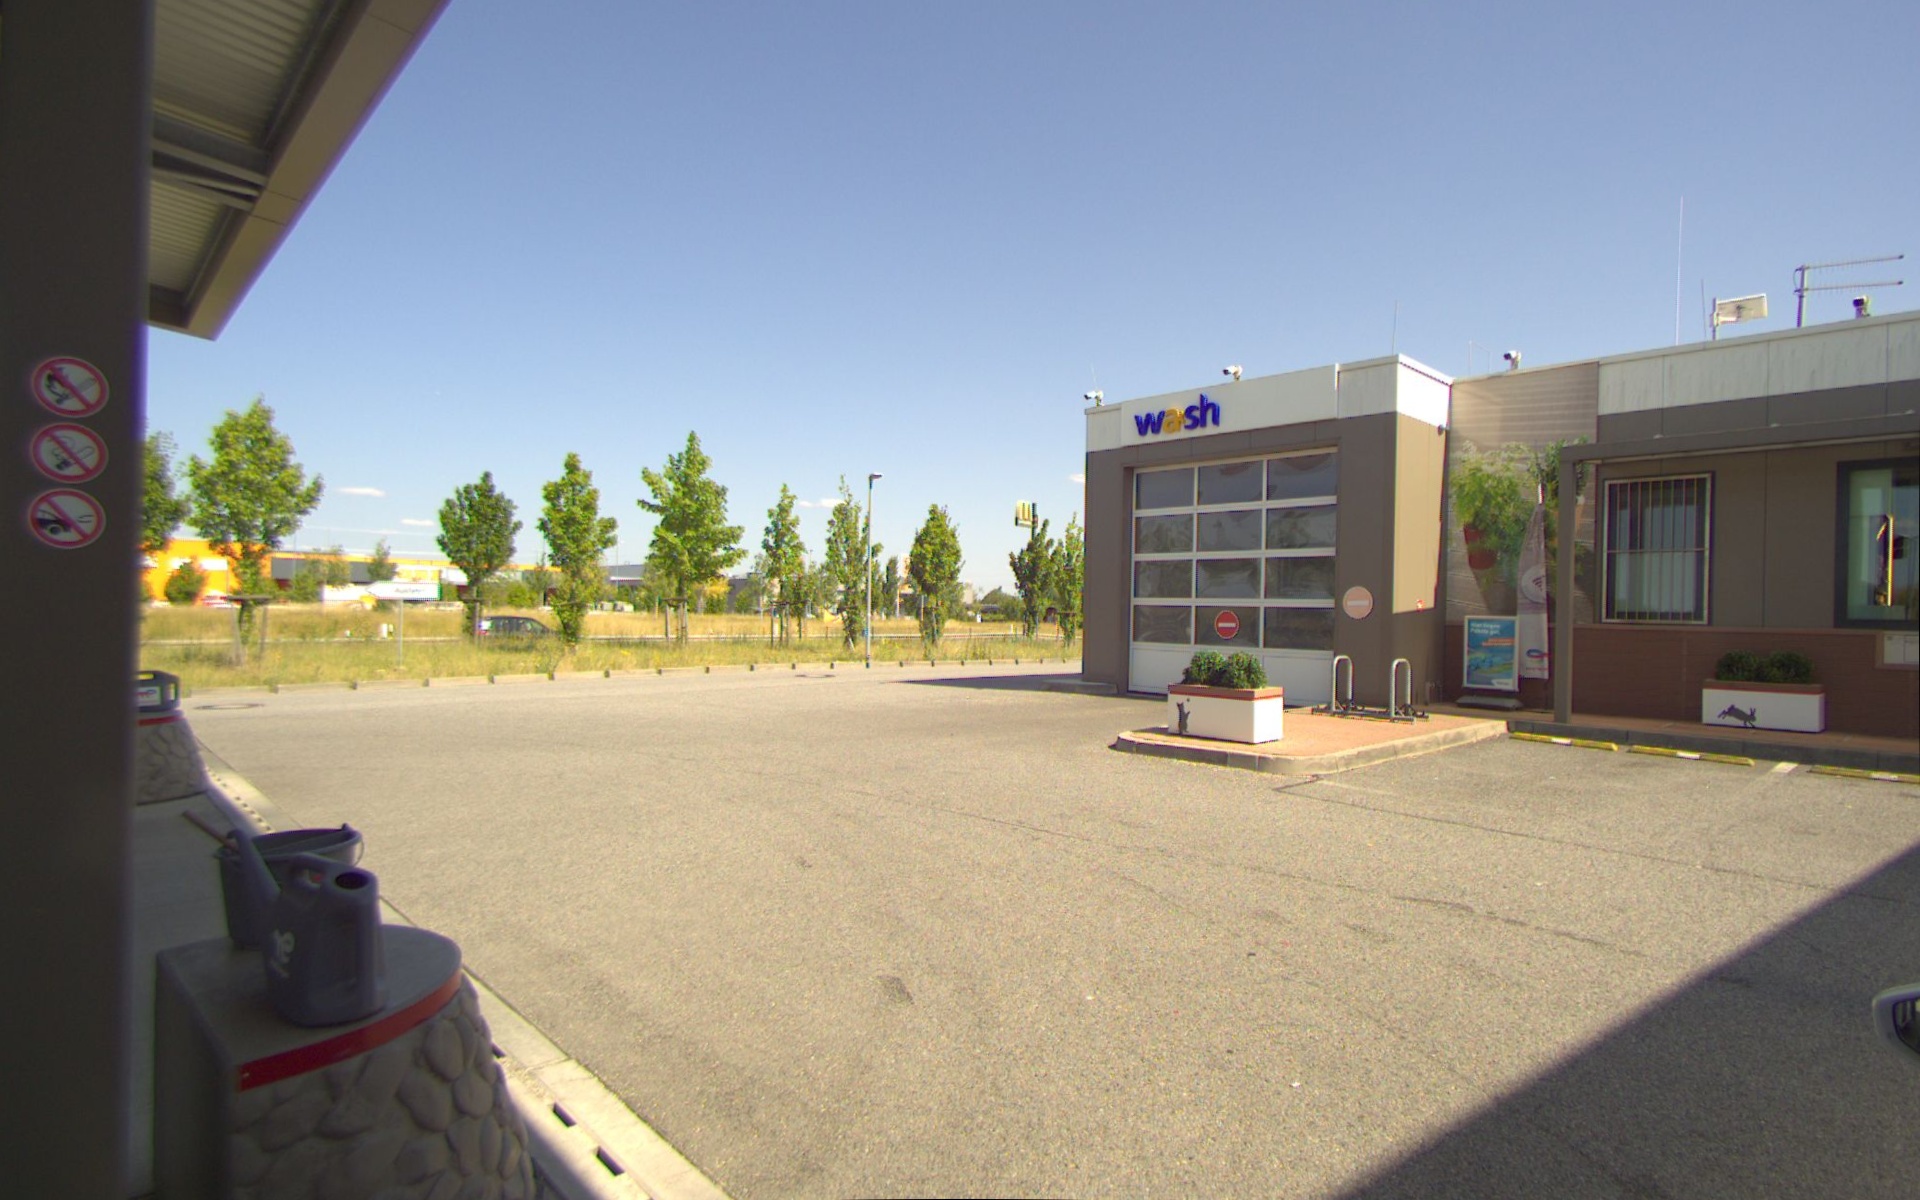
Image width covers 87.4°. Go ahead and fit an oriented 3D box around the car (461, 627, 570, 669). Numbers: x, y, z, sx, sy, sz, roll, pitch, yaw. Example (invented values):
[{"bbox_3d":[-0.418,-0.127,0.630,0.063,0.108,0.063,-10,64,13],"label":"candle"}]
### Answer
[{"bbox_3d":[-19.115,2.034,43.302,3.970,1.639,1.800,1,0,-42],"label":"car"}]
